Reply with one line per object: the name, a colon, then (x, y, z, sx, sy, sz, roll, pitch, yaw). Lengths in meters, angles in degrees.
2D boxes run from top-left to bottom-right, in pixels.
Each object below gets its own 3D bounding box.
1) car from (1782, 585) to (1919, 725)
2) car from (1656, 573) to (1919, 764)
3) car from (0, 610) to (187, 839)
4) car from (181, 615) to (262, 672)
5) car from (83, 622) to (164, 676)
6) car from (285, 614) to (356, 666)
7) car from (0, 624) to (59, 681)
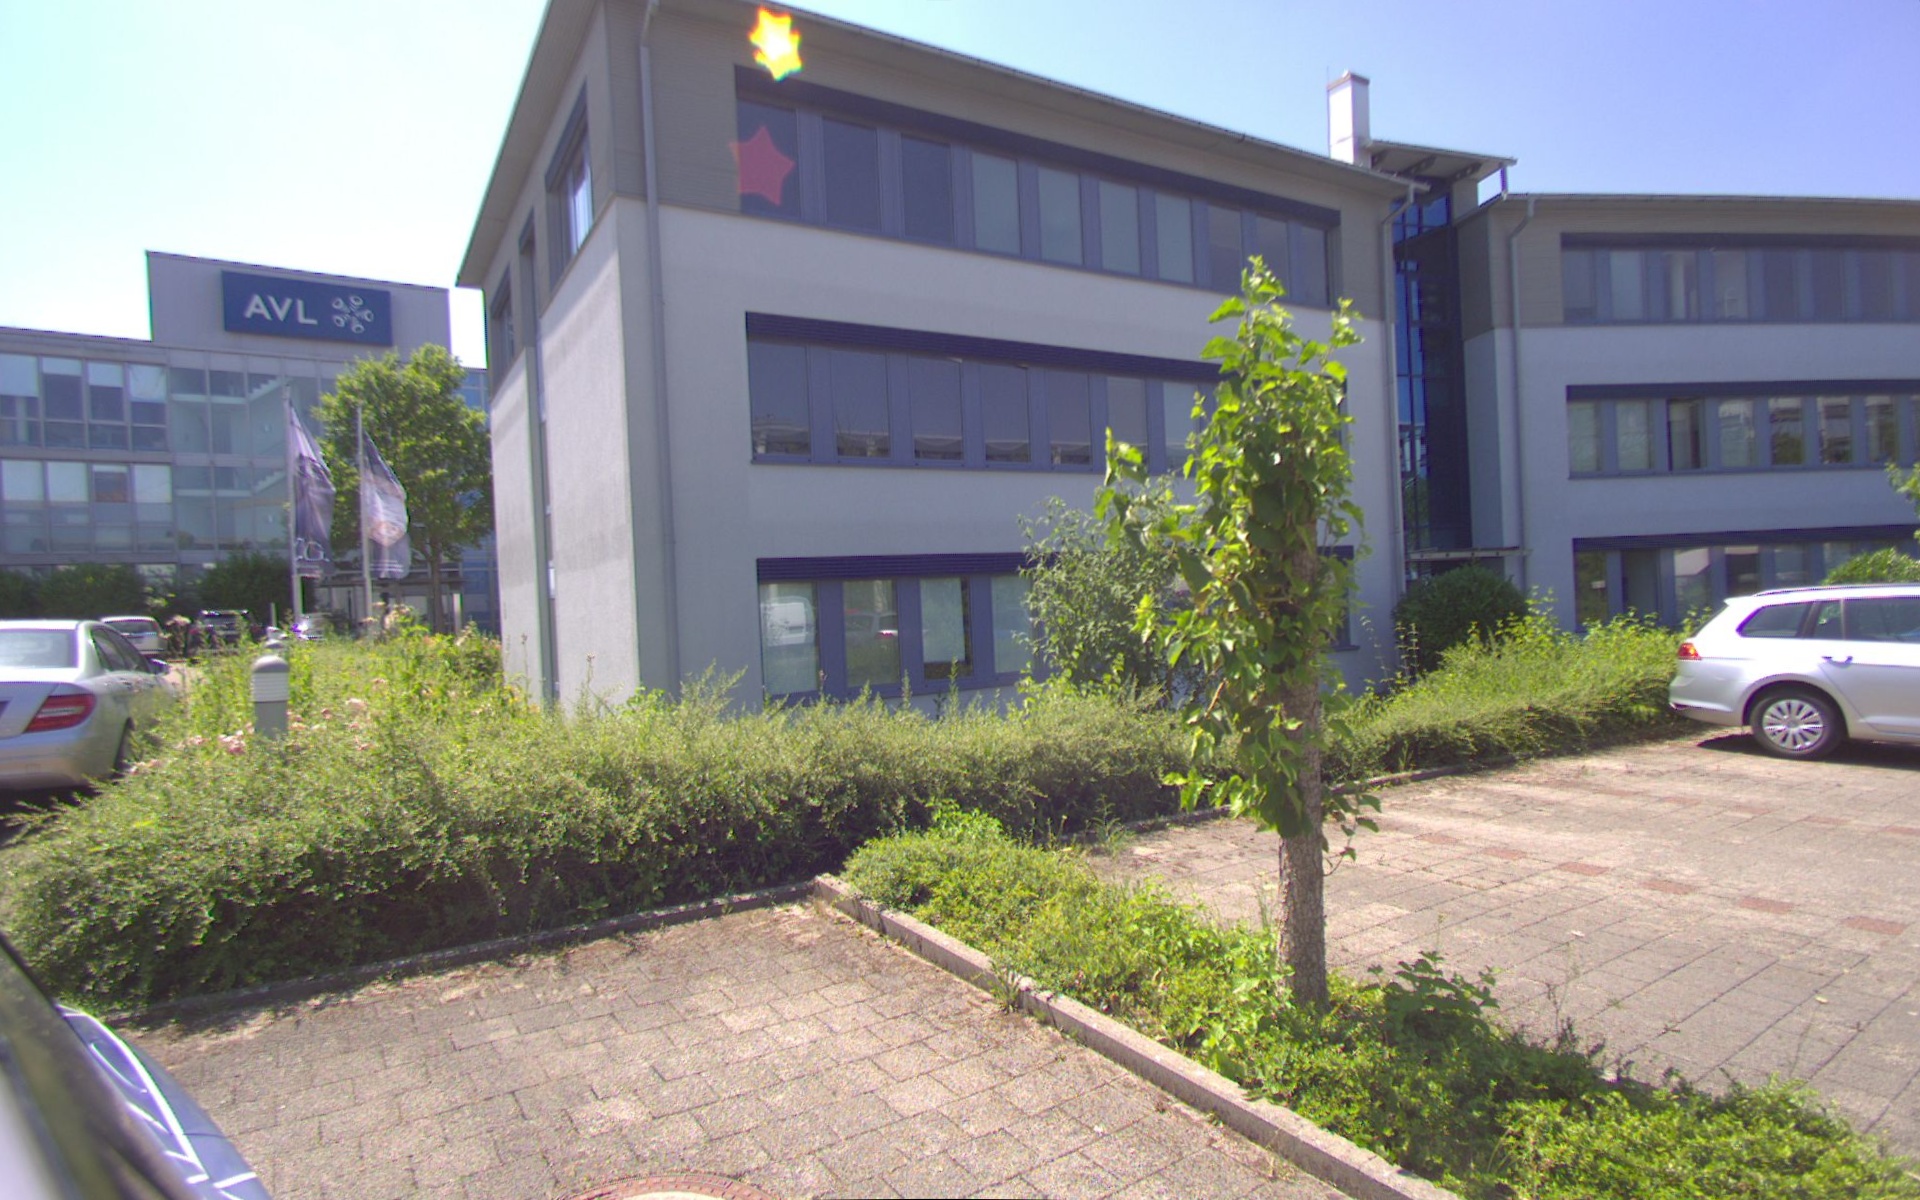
car: (11.349, 0.520, 10.404, 1.966, 1.473, 4.011, -1, -2, -32)
car: (8.445, 0.496, 7.964, 1.832, 1.483, 4.495, -2, -1, -35)
car: (-7.577, 0.851, 8.162, 1.705, 1.468, 4.159, -1, 0, -32)
car: (-22.702, 1.281, 31.137, 1.908, 1.615, 3.868, -1, 0, -36)
car: (-24.799, 1.395, 29.965, 1.706, 1.463, 3.605, 0, 0, -42)
car: (-20.607, 1.244, 32.545, 1.702, 1.495, 4.408, -2, 0, -35)
car: (-26.189, 1.427, 28.203, 1.618, 1.463, 3.605, 0, -1, -42)
